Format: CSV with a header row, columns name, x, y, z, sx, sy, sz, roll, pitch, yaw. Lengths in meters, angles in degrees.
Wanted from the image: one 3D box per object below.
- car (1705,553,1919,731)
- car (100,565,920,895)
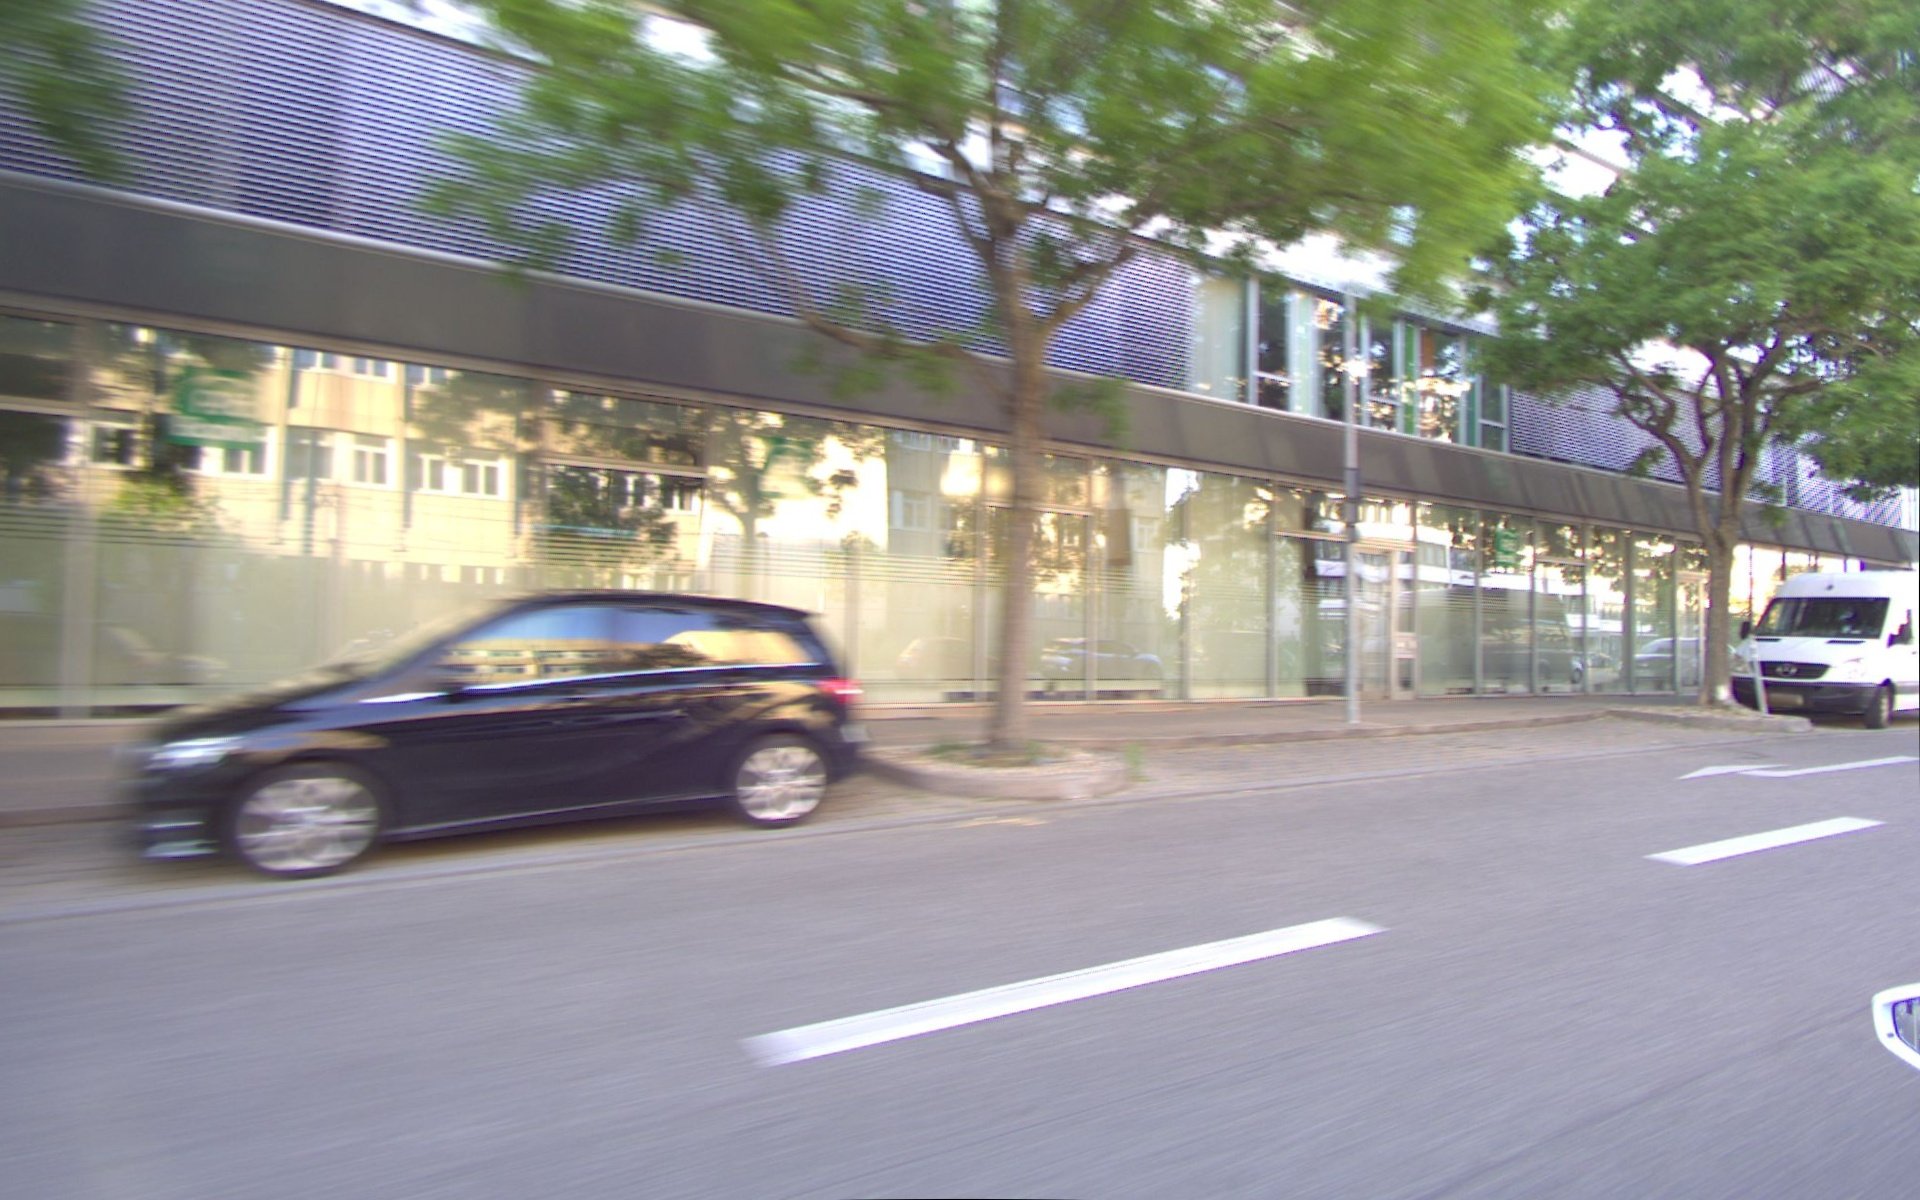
name,x,y,z,sx,sy,sz,roll,pitch,yaw
car,16.187,0.768,17.960,6.869,2.699,2.091,2,-2,-30
car,-2.603,0.671,6.642,4.419,1.589,1.582,2,1,-30
